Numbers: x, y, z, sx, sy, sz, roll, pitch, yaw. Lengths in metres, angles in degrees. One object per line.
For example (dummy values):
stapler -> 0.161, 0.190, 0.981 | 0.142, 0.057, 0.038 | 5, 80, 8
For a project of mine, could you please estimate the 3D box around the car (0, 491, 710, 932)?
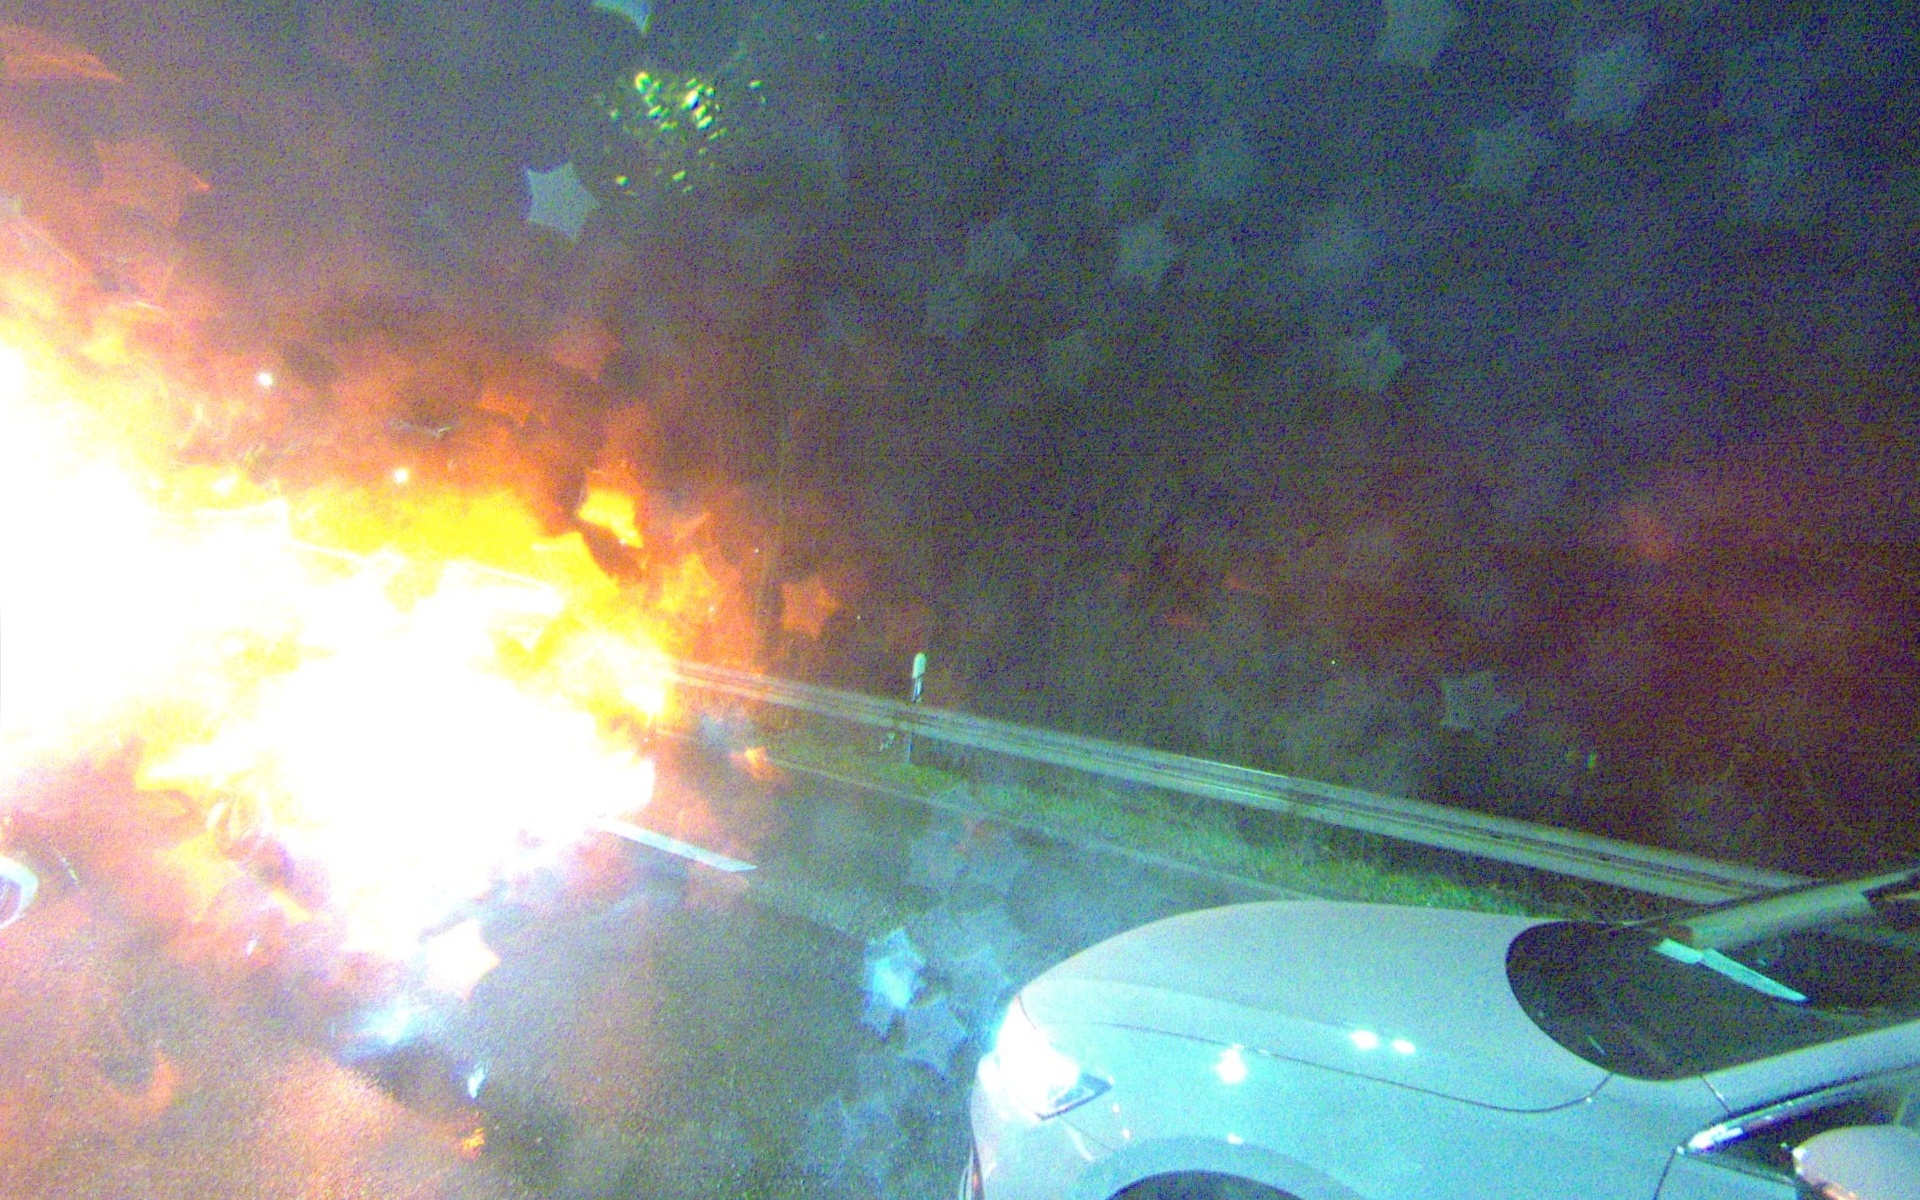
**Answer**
car -> -3.731, 0.388, 5.751 | 4.484, 1.523, 1.676 | 6, -2, 32

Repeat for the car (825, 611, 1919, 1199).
car -> 2.041, 1.068, 1.597 | 4.342, 1.539, 1.710 | 6, -2, 32

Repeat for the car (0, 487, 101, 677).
car -> -9.696, -0.359, 9.013 | 3.892, 1.539, 1.681 | 6, -2, 29
